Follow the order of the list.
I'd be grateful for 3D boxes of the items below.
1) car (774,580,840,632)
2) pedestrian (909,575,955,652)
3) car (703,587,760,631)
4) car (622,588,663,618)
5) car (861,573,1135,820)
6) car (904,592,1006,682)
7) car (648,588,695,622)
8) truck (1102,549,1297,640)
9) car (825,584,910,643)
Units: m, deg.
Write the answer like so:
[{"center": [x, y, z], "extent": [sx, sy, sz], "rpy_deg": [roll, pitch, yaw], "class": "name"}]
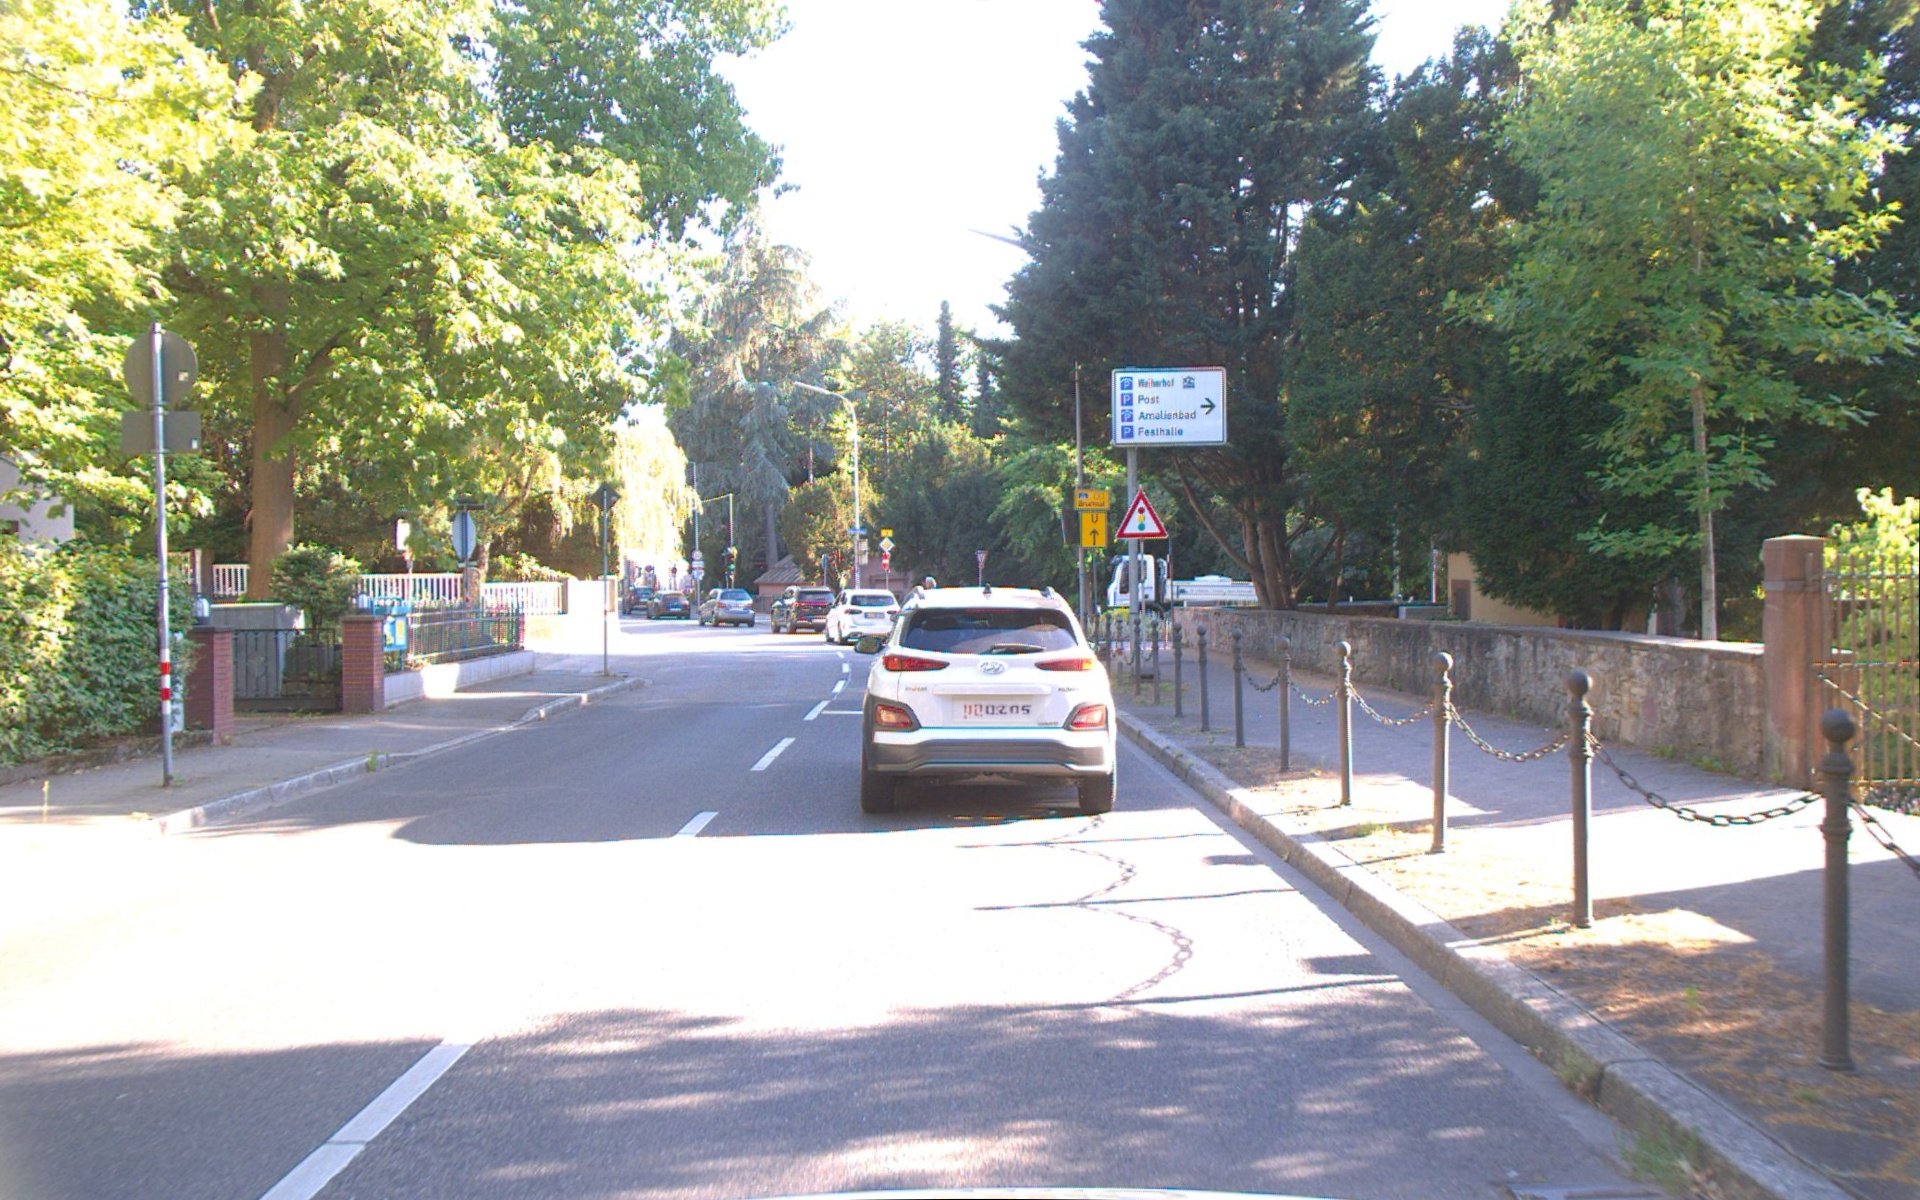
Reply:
[{"center": [-5.300, 0.197, 56.899], "extent": [1.799, 1.691, 3.988], "rpy_deg": [1, 0, -12], "class": "car"}, {"center": [-0.691, 0.336, 40.625], "extent": [0.934, 1.858, 0.547], "rpy_deg": [1, 2, -40], "class": "pedestrian"}, {"center": [-9.791, 0.361, 70.643], "extent": [1.802, 1.771, 3.982], "rpy_deg": [1, 0, -16], "class": "car"}, {"center": [-18.606, 0.148, 96.756], "extent": [1.804, 1.691, 3.978], "rpy_deg": [1, 0, -19], "class": "car"}, {"center": [0.211, 0.632, 12.952], "extent": [1.783, 1.601, 3.999], "rpy_deg": [1, 0, -1], "class": "car"}, {"center": [-0.115, 0.613, 29.785], "extent": [1.673, 1.459, 4.364], "rpy_deg": [1, 0, -1], "class": "car"}, {"center": [-14.770, 0.236, 84.451], "extent": [1.803, 1.691, 3.980], "rpy_deg": [1, 0, -18], "class": "car"}, {"center": [8.198, -0.201, 57.120], "extent": [6.449, 2.945, 2.434], "rpy_deg": [1, 0, 4], "class": "truck"}, {"center": [-2.644, 0.356, 46.538], "extent": [1.774, 1.564, 3.988], "rpy_deg": [1, 0, -12], "class": "car"}]
